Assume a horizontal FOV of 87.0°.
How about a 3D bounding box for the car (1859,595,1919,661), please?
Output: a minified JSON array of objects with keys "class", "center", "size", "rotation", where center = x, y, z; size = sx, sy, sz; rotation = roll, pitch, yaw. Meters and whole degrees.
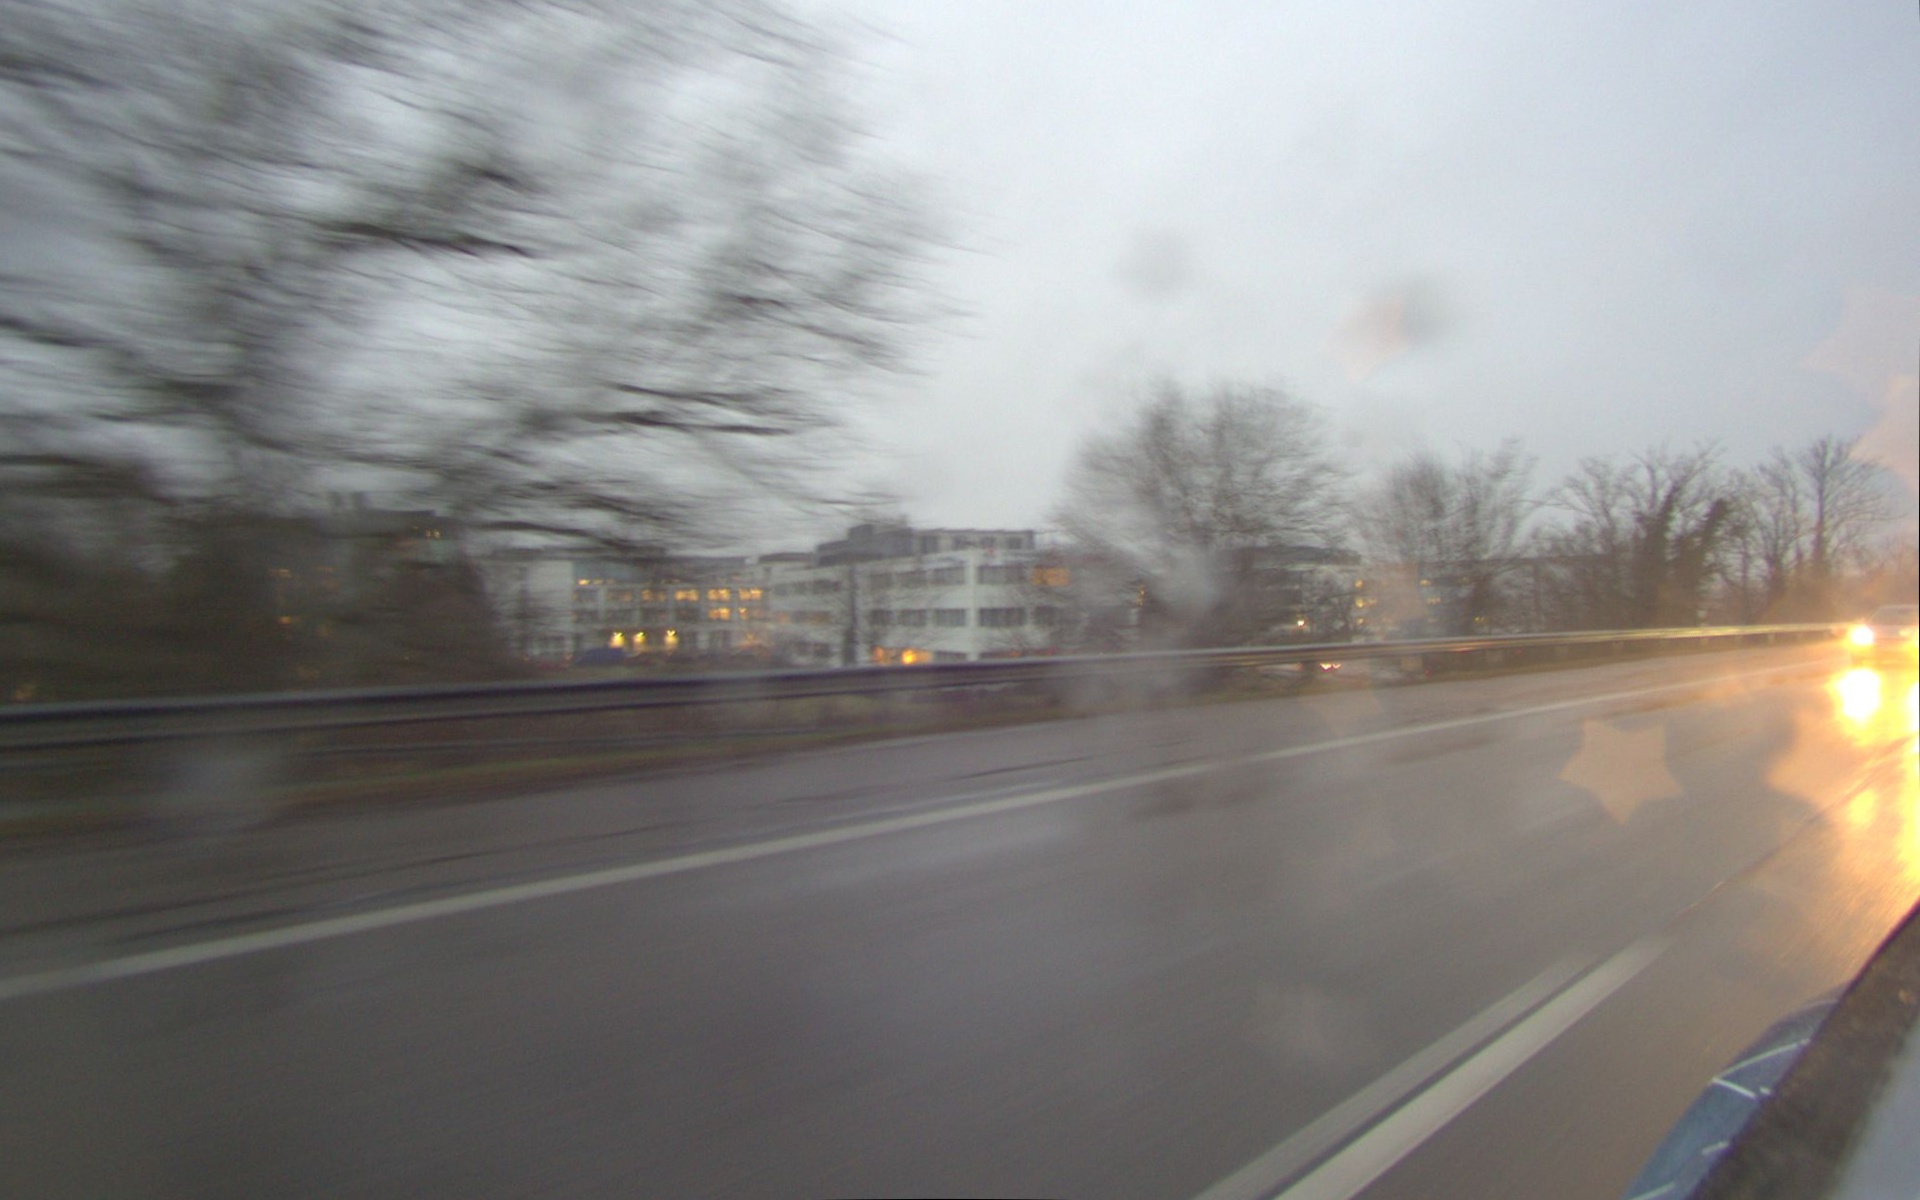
[{"class":"car","center":[24.027,0.663,25.154],"size":[4.073,1.549,1.850],"rotation":[0,0,-39]}]
